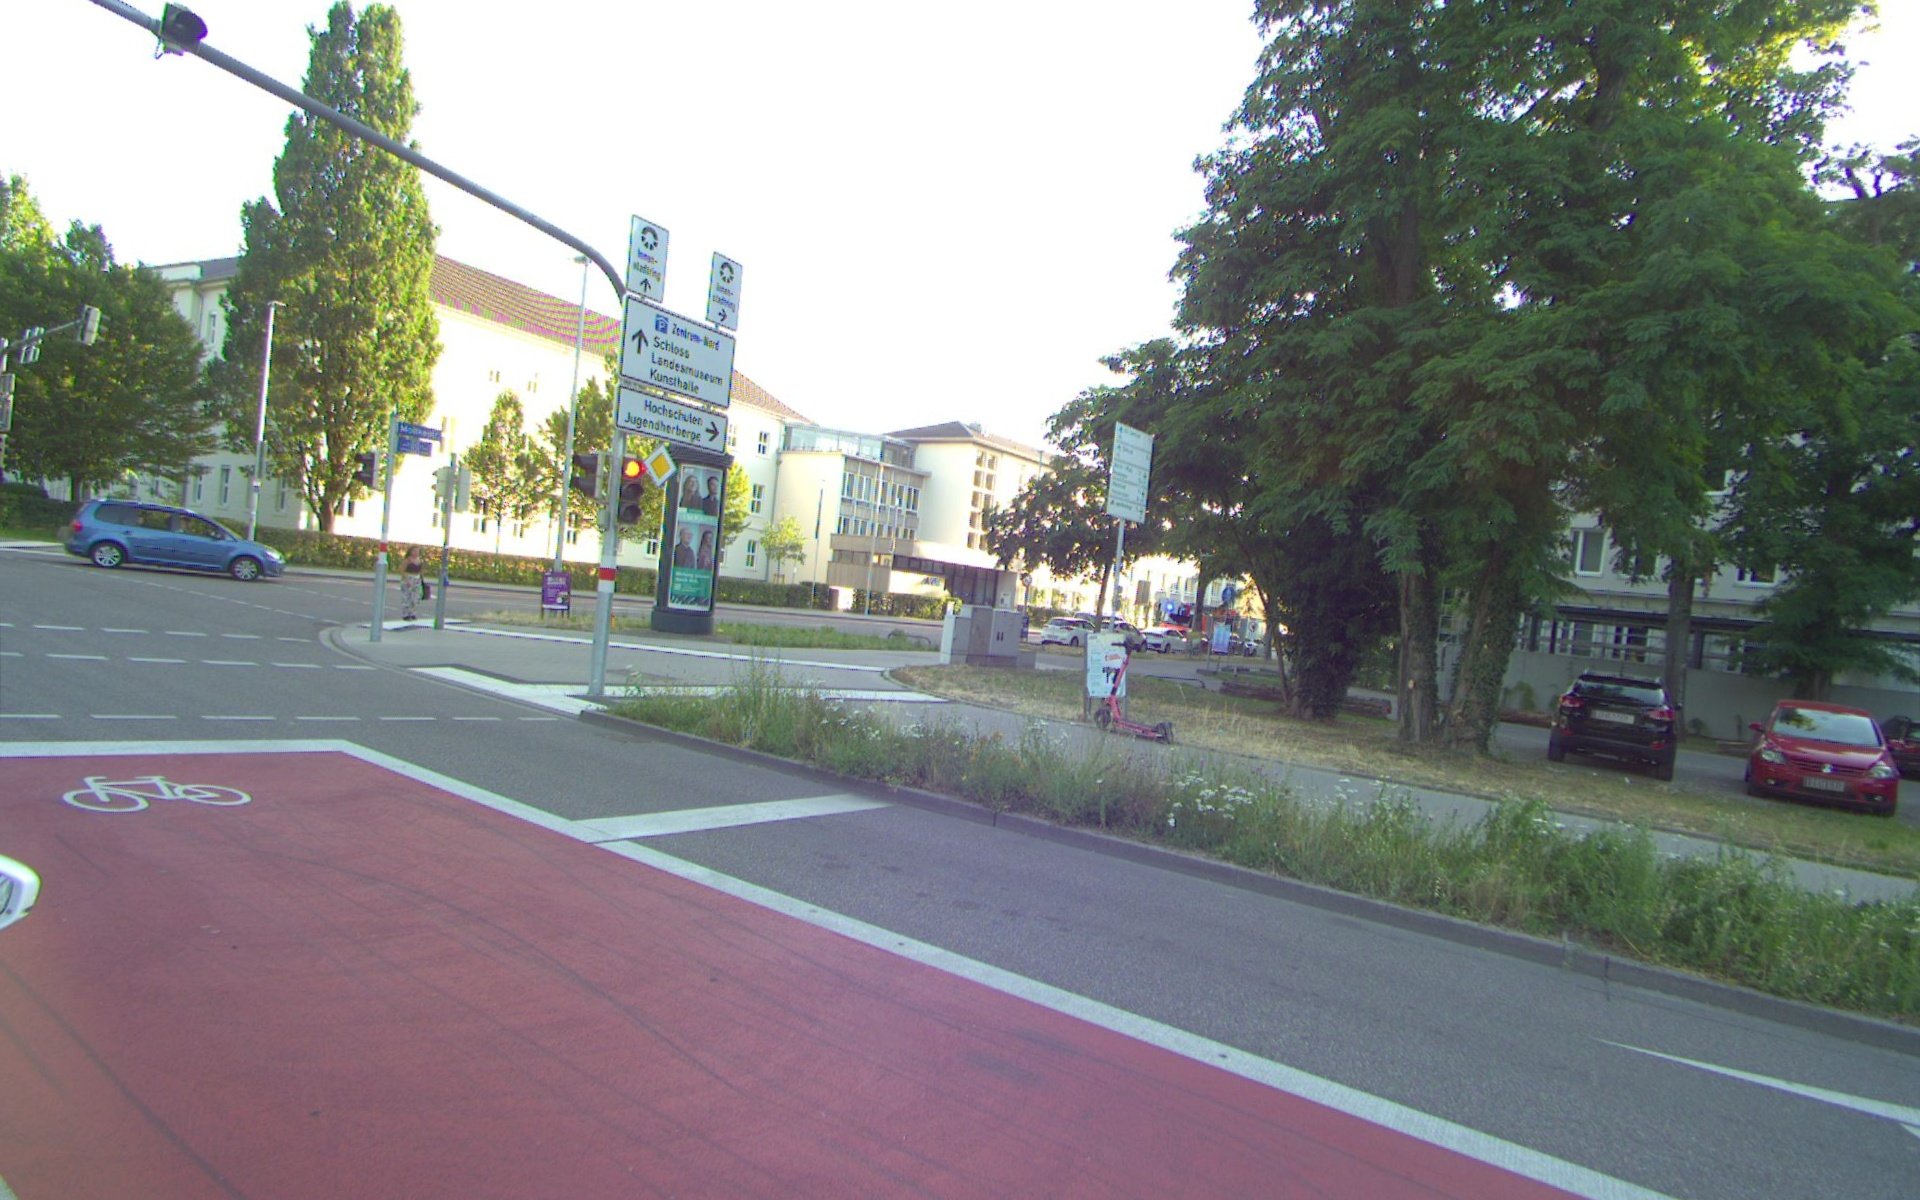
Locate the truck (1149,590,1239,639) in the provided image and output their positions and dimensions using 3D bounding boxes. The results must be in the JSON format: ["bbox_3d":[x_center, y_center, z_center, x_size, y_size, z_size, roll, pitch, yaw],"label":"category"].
[{"bbox_3d":[15.858,1.063,67.459,2.327,2.315,10.049,7,-1,34],"label":"truck"}]

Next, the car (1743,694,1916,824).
[{"bbox_3d":[13.992,2.454,16.399,1.759,1.581,3.984,7,0,38],"label":"car"}]

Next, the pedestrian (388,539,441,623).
[{"bbox_3d":[-11.491,-0.398,21.191,0.680,1.656,0.600,8,1,35],"label":"pedestrian"}]

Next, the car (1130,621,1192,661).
[{"bbox_3d":[11.071,2.271,55.101,1.720,1.783,3.989,7,-1,35],"label":"car"}]

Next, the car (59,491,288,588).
[{"bbox_3d":[-19.472,-1.477,25.106,4.261,1.742,1.835,7,2,-39],"label":"car"}]

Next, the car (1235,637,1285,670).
[{"bbox_3d":[20.369,3.659,68.232,1.873,1.831,3.988,7,-1,36],"label":"car"}]

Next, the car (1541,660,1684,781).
[{"bbox_3d":[11.763,2.111,18.060,1.808,1.715,3.899,7,-1,36],"label":"car"}]

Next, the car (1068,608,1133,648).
[{"bbox_3d":[7.764,1.537,55.275,1.720,1.783,3.989,7,-1,35],"label":"car"}]

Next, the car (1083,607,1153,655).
[{"bbox_3d":[8.063,1.586,51.184,1.713,2.038,3.988,7,-1,36],"label":"car"}]

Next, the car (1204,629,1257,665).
[{"bbox_3d":[17.220,3.033,63.854,1.789,1.893,4.136,7,-1,35],"label":"car"}]

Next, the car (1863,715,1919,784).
[{"bbox_3d":[23.178,3.622,24.029,1.873,1.459,3.987,7,-1,37],"label":"car"}]

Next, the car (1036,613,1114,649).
[{"bbox_3d":[5.475,1.493,47.704,1.793,1.358,3.985,6,0,37],"label":"car"}]

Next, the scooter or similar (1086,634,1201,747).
[{"bbox_3d":[2.327,1.136,12.803,1.289,1.247,0.311,7,1,32],"label":"scooter or similar"}]

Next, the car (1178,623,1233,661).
[{"bbox_3d":[14.604,2.497,59.724,1.698,1.879,3.989,7,-1,35],"label":"car"}]
